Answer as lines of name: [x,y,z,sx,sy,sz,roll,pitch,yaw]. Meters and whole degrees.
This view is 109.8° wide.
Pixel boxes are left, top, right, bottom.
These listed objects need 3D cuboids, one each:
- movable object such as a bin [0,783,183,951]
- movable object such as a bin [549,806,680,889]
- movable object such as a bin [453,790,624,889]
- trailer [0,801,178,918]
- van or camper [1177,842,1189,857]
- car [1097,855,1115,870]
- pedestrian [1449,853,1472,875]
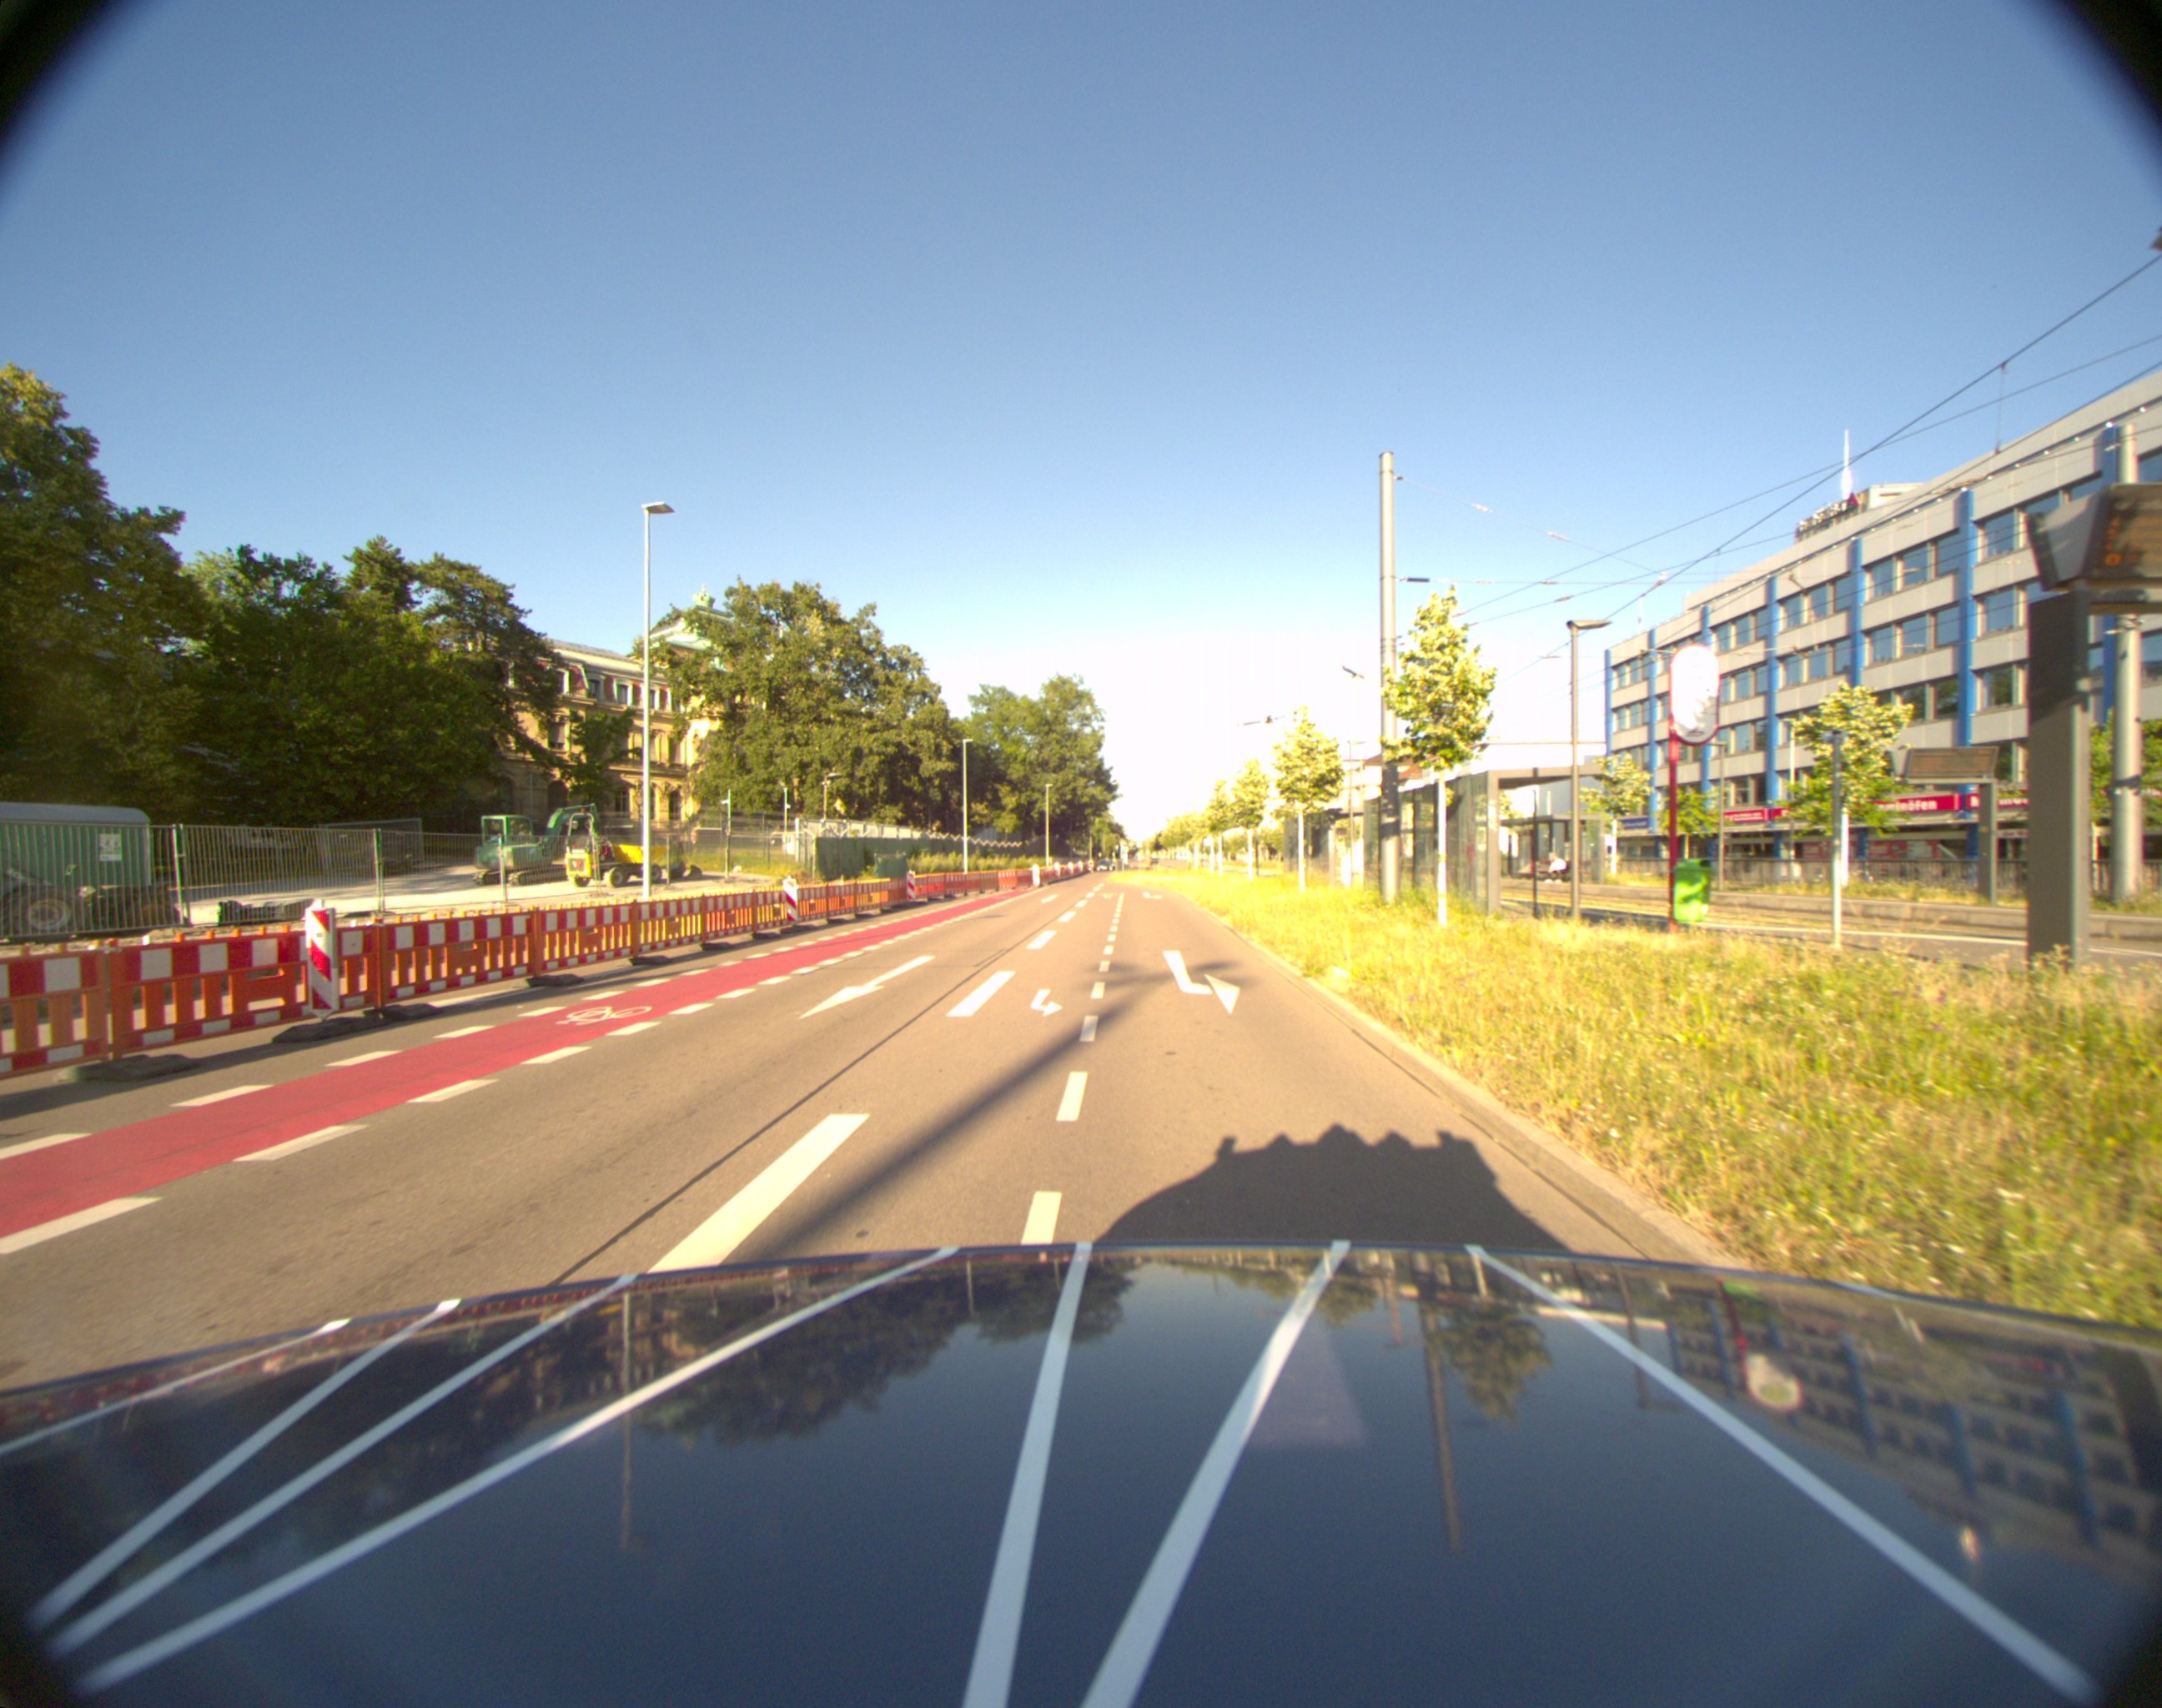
movable object such as a bin: [-18.421,0.216,12.066,2.281,2.688,4.943,0,0,3]
movable object such as a bin: [-17.408,-0.233,28.604,1.997,2.887,4.003,0,0,11]
movable object such as a bin: [-21.117,-0.506,29.998,2.280,3.537,5.502,0,0,8]
trailer: [-30.485,0.025,22.405,2.616,3.075,3.982,0,5,0]
van or camper: [22.267,-0.948,166.317,2.510,3.149,7.479,-1,0,7]
car: [3.110,1.044,94.773,2.080,1.827,4.001,0,0,4]
pedestrian: [20.621,0.548,41.306,0.936,1.190,0.764,0,1,3]
